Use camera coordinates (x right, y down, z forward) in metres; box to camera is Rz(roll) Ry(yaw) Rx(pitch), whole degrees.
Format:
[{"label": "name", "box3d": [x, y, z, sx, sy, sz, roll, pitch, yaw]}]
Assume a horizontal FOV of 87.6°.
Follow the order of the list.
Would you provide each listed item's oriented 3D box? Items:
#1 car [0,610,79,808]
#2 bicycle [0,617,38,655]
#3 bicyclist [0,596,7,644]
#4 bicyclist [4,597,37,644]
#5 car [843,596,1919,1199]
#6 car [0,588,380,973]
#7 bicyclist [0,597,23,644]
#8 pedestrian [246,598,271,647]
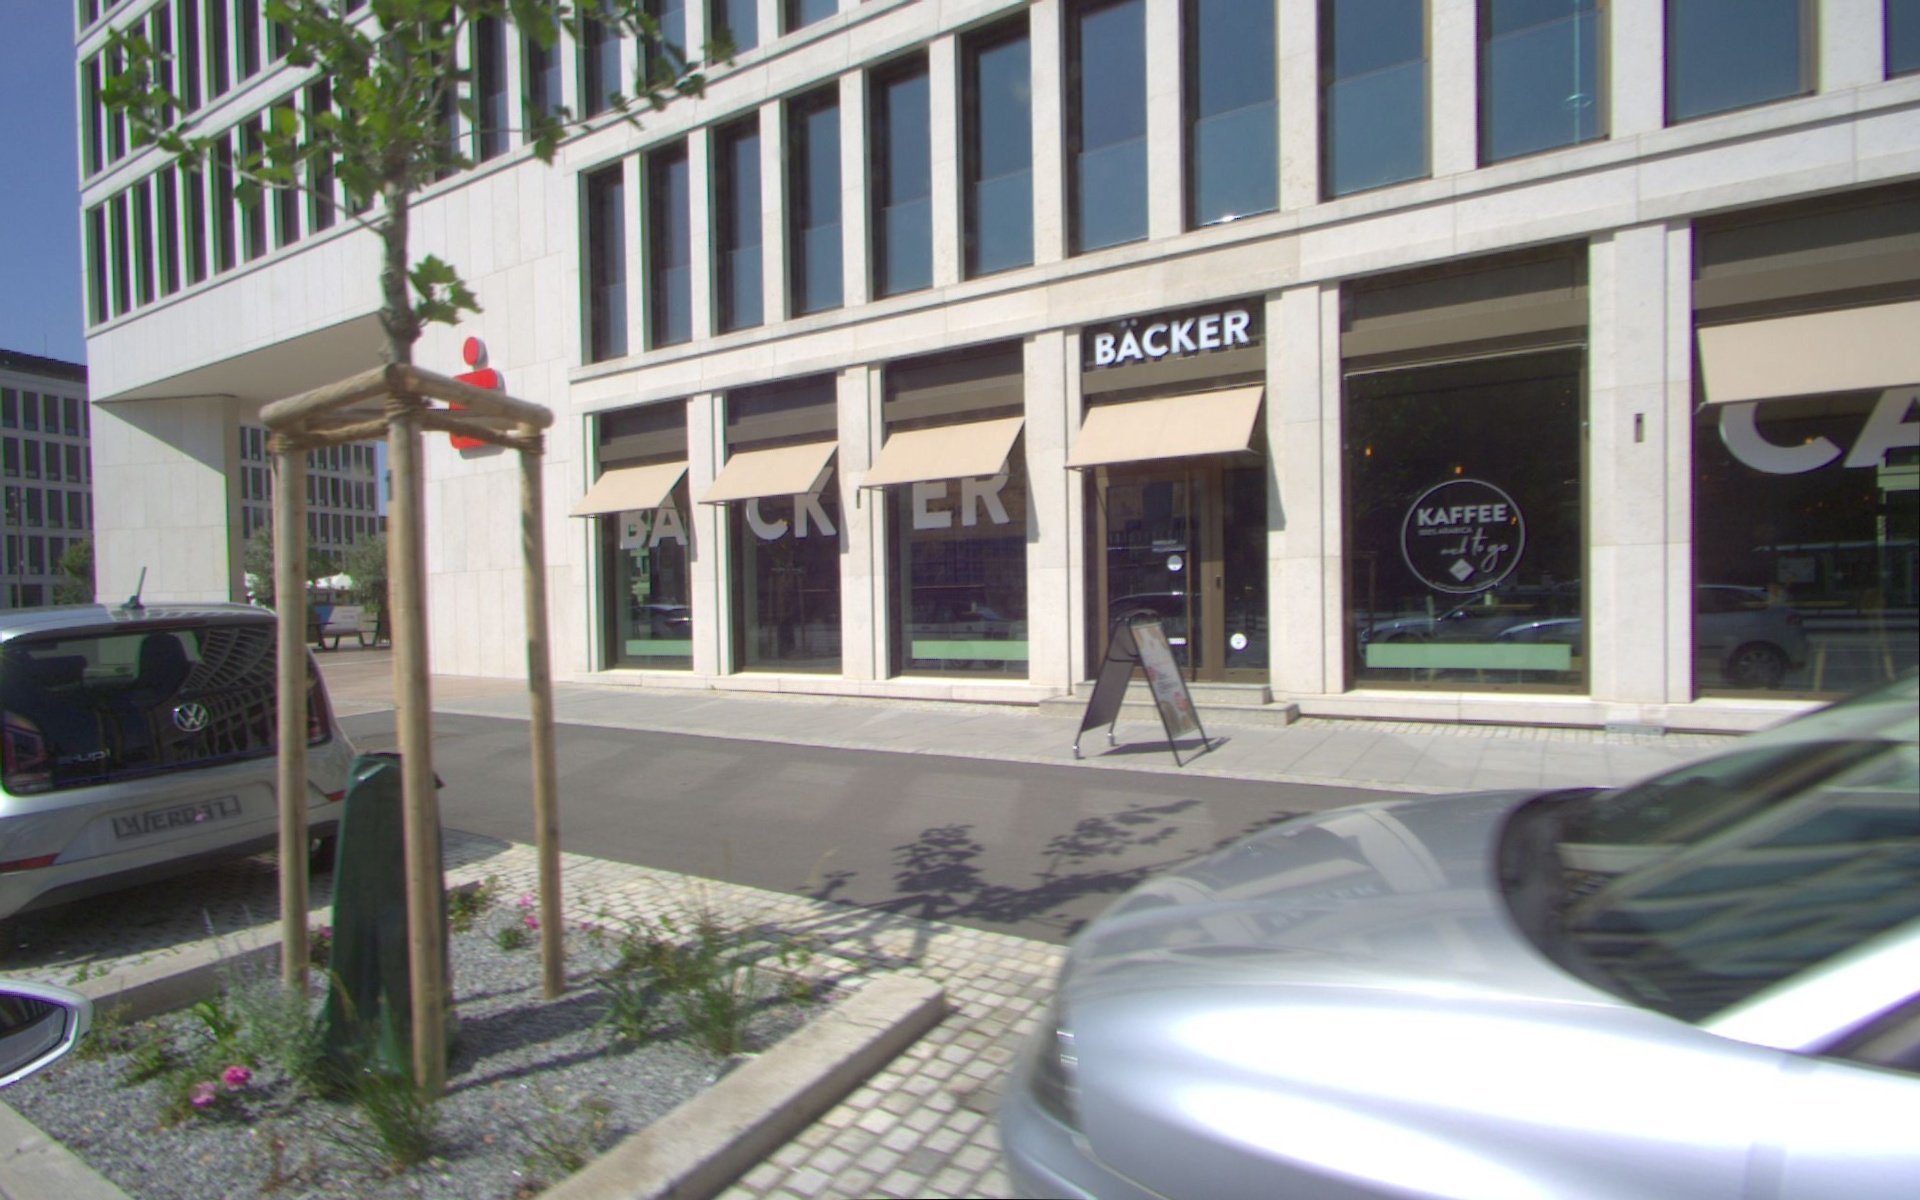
[{"label": "car", "box3d": [-8.680, 0.806, 7.971, 3.943, 1.409, 1.426, -1, 0, 32]}, {"label": "bicycle", "box3d": [-28.533, 1.073, 29.389, 0.889, 1.098, 1.963, 0, 0, 21]}, {"label": "bicyclist", "box3d": [-28.564, 0.592, 29.320, 0.885, 1.378, 0.616, 0, 1, 21]}, {"label": "bicyclist", "box3d": [-28.262, 0.614, 30.135, 0.886, 1.378, 0.358, 0, 1, 21]}, {"label": "car", "box3d": [1.819, 0.698, 1.333, 3.760, 1.406, 1.601, -1, 0, 32]}, {"label": "car", "box3d": [-4.875, 0.722, 5.424, 3.420, 1.492, 1.552, -1, 2, 32]}, {"label": "bicyclist", "box3d": [-28.393, 0.609, 29.790, 0.898, 1.378, 0.358, 0, 1, 21]}, {"label": "pedestrian", "box3d": [-29.295, 0.930, 41.805, 0.613, 2.040, 0.642, 0, 1, 32]}]
